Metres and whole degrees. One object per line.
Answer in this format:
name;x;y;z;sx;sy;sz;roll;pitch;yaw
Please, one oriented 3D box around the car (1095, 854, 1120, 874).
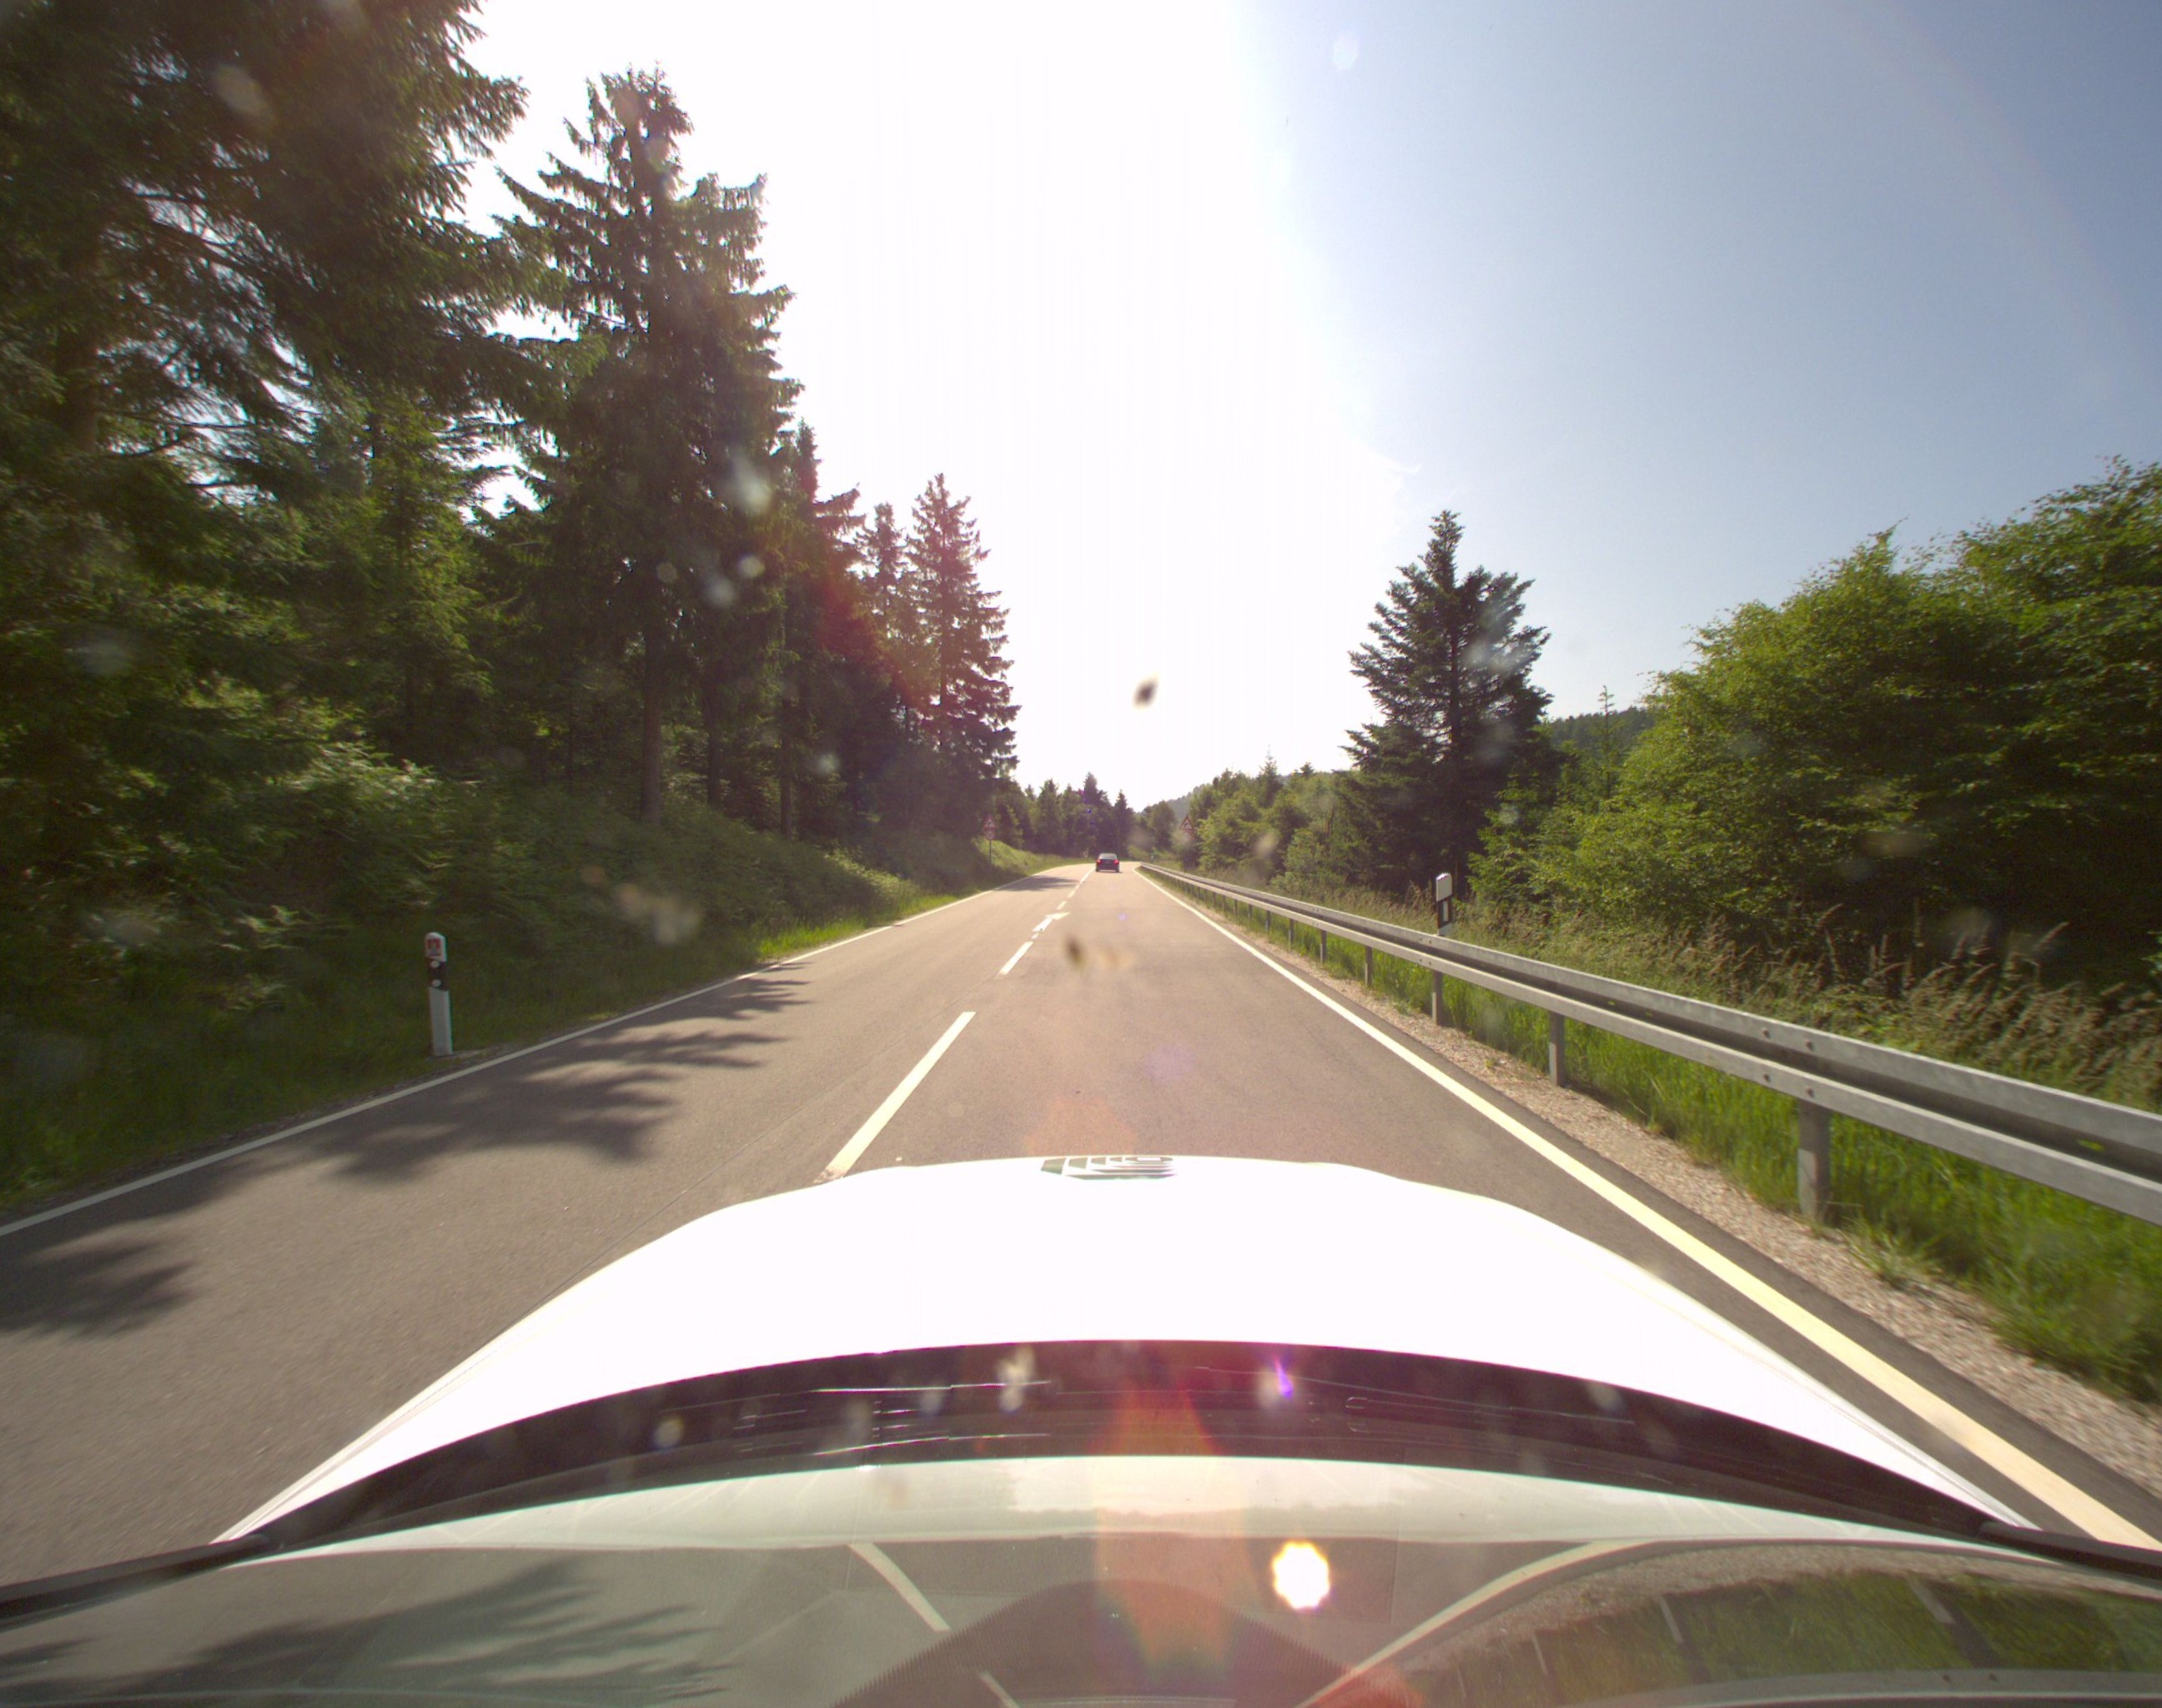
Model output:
car;2.083;0.743;62.831;1.768;1.442;3.712;1;0;3
